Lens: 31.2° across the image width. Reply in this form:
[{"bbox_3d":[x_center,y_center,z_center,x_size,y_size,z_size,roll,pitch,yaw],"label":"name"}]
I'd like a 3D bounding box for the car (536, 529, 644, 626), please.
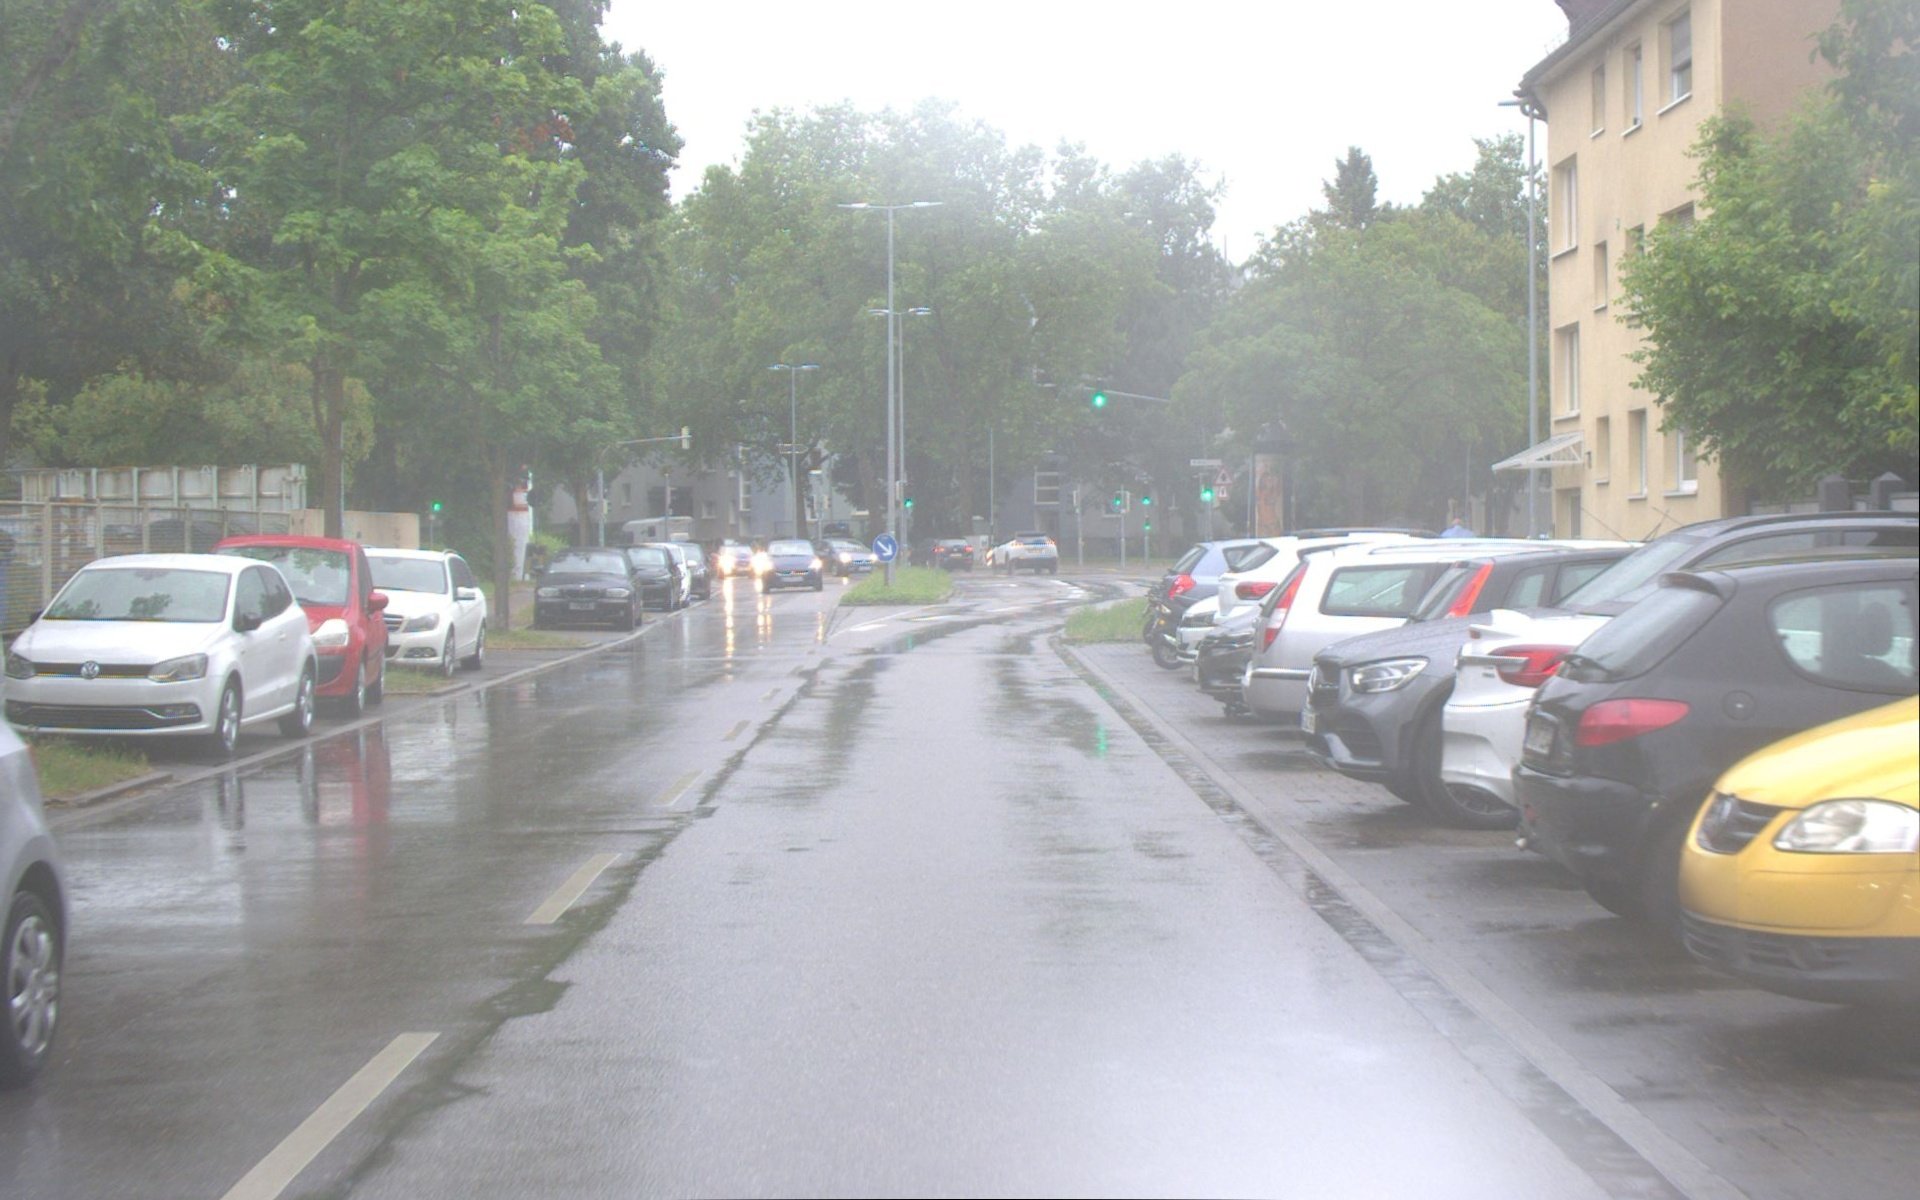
[{"bbox_3d":[-6.464,-0.415,59.819,1.775,1.524,4.001,0,2,-7],"label":"car"}]

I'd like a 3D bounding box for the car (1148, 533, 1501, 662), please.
[{"bbox_3d":[4.278,-0.043,40.860,3.987,1.456,1.935,1,1,0],"label":"car"}]

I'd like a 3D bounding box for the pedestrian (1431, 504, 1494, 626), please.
[{"bbox_3d":[8.415,-0.586,57.590,1.011,2.007,0.952,1,1,9],"label":"pedestrian"}]

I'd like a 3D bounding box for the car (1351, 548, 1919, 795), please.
[{"bbox_3d":[4.527,0.414,21.228,3.987,1.407,1.845,1,1,0],"label":"car"}]

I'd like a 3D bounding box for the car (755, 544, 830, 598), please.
[{"bbox_3d":[-4.708,-0.838,97.167,1.993,1.480,4.000,1,1,-1],"label":"car"}]

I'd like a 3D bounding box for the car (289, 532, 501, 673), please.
[{"bbox_3d":[-6.472,-0.004,39.796,1.768,1.523,4.598,1,1,-1],"label":"car"}]

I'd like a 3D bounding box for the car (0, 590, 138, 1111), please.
[{"bbox_3d":[-3.461,0.704,8.405,1.672,1.378,4.252,0,1,3],"label":"car"}]

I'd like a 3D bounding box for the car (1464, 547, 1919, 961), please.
[{"bbox_3d":[4.038,0.541,12.939,3.987,1.437,1.782,1,1,-1],"label":"car"}]

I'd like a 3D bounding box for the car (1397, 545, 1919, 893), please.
[{"bbox_3d":[4.140,0.490,15.546,4.097,1.453,2.000,0,1,1],"label":"car"}]

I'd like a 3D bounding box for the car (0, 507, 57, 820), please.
[{"bbox_3d":[-6.027,0.351,17.197,1.776,1.674,4.601,2,1,0],"label":"car"}]

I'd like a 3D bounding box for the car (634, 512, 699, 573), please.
[{"bbox_3d":[-15.852,-3.087,185.490,2.219,3.226,4.671,0,1,-22],"label":"car"}]

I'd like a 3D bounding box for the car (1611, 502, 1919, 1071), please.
[{"bbox_3d":[4.150,0.511,10.329,3.986,1.546,1.853,0,1,-2],"label":"car"}]

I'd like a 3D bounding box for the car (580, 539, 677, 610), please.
[{"bbox_3d":[-7.164,-0.571,74.621,1.928,1.479,4.001,-1,1,-4],"label":"car"}]

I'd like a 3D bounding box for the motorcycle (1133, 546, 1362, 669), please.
[{"bbox_3d":[3.165,0.076,37.984,2.398,1.319,0.920,0,1,-5],"label":"motorcycle"}]

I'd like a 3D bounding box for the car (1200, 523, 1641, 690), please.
[{"bbox_3d":[4.434,0.050,33.525,3.986,1.546,1.905,0,1,-2],"label":"car"}]

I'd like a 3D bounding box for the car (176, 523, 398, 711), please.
[{"bbox_3d":[-6.088,0.121,31.479,1.624,1.592,4.202,0,1,-6],"label":"car"}]

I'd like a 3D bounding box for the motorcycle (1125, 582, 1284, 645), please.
[{"bbox_3d":[3.243,0.171,45.488,2.073,0.790,0.710,1,1,6],"label":"motorcycle"}]

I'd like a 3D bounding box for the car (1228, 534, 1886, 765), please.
[{"bbox_3d":[4.004,0.304,23.645,4.270,1.449,1.984,1,2,5],"label":"car"}]

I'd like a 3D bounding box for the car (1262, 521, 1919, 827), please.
[{"bbox_3d":[3.918,0.374,18.682,4.341,1.546,2.040,1,1,-1],"label":"car"}]

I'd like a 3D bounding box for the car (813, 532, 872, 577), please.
[{"bbox_3d":[-4.476,-1.722,130.354,1.740,1.683,4.001,0,1,-9],"label":"car"}]

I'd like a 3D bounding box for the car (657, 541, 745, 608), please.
[{"bbox_3d":[-6.838,-0.697,91.214,1.927,1.725,4.000,1,1,1],"label":"car"}]

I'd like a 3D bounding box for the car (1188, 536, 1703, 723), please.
[{"bbox_3d":[3.943,0.222,28.418,3.987,1.461,1.782,1,1,0],"label":"car"}]

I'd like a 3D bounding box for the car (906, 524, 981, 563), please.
[{"bbox_3d":[-0.660,-2.255,136.924,1.849,1.519,4.155,-1,1,-17],"label":"car"}]

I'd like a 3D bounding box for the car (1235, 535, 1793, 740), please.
[{"bbox_3d":[4.132,0.263,26.145,3.987,1.469,1.802,1,1,2],"label":"car"}]

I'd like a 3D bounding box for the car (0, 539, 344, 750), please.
[{"bbox_3d":[-5.975,0.284,26.111,1.661,1.455,4.173,1,1,3],"label":"car"}]

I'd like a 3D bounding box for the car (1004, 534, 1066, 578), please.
[{"bbox_3d":[2.647,-1.566,122.383,1.849,1.519,4.001,0,1,-4],"label":"car"}]

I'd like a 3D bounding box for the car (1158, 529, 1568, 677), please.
[{"bbox_3d":[4.180,0.020,36.076,3.986,1.485,1.863,0,1,-3],"label":"car"}]

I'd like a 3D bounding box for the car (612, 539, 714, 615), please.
[{"bbox_3d":[-6.961,-0.560,80.939,1.927,1.725,4.000,1,1,1],"label":"car"}]
